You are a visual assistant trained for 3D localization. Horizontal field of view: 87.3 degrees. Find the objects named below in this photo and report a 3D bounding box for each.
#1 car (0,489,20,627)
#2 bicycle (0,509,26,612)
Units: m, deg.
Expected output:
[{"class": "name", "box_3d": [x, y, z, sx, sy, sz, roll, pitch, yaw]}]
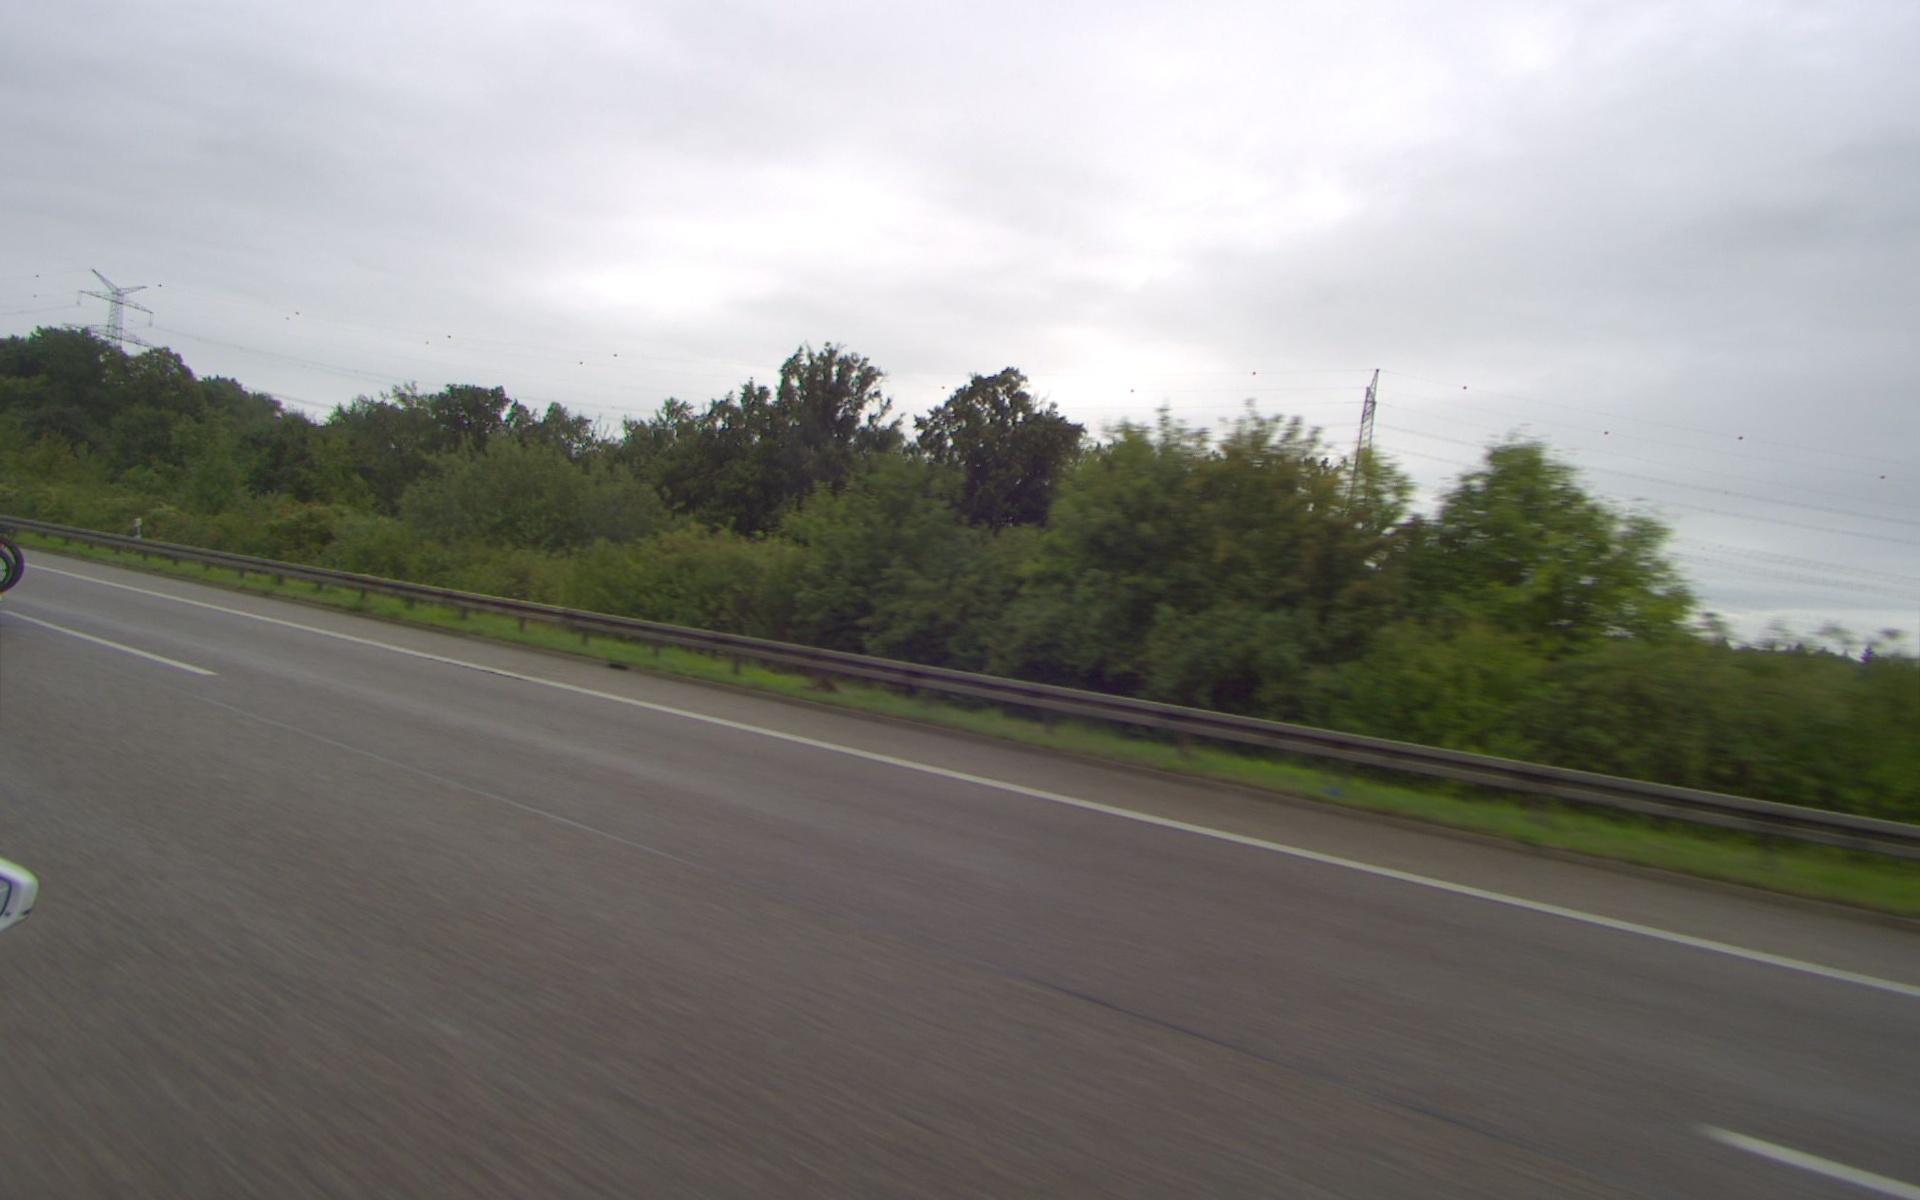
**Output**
[{"class": "car", "box_3d": [-13.577, -0.798, 12.176, 4.881, 1.586, 1.864, 7, -1, 31]}, {"class": "bicycle", "box_3d": [-11.154, -0.526, 10.552, 0.899, 1.103, 1.755, 6, -1, 32]}]
